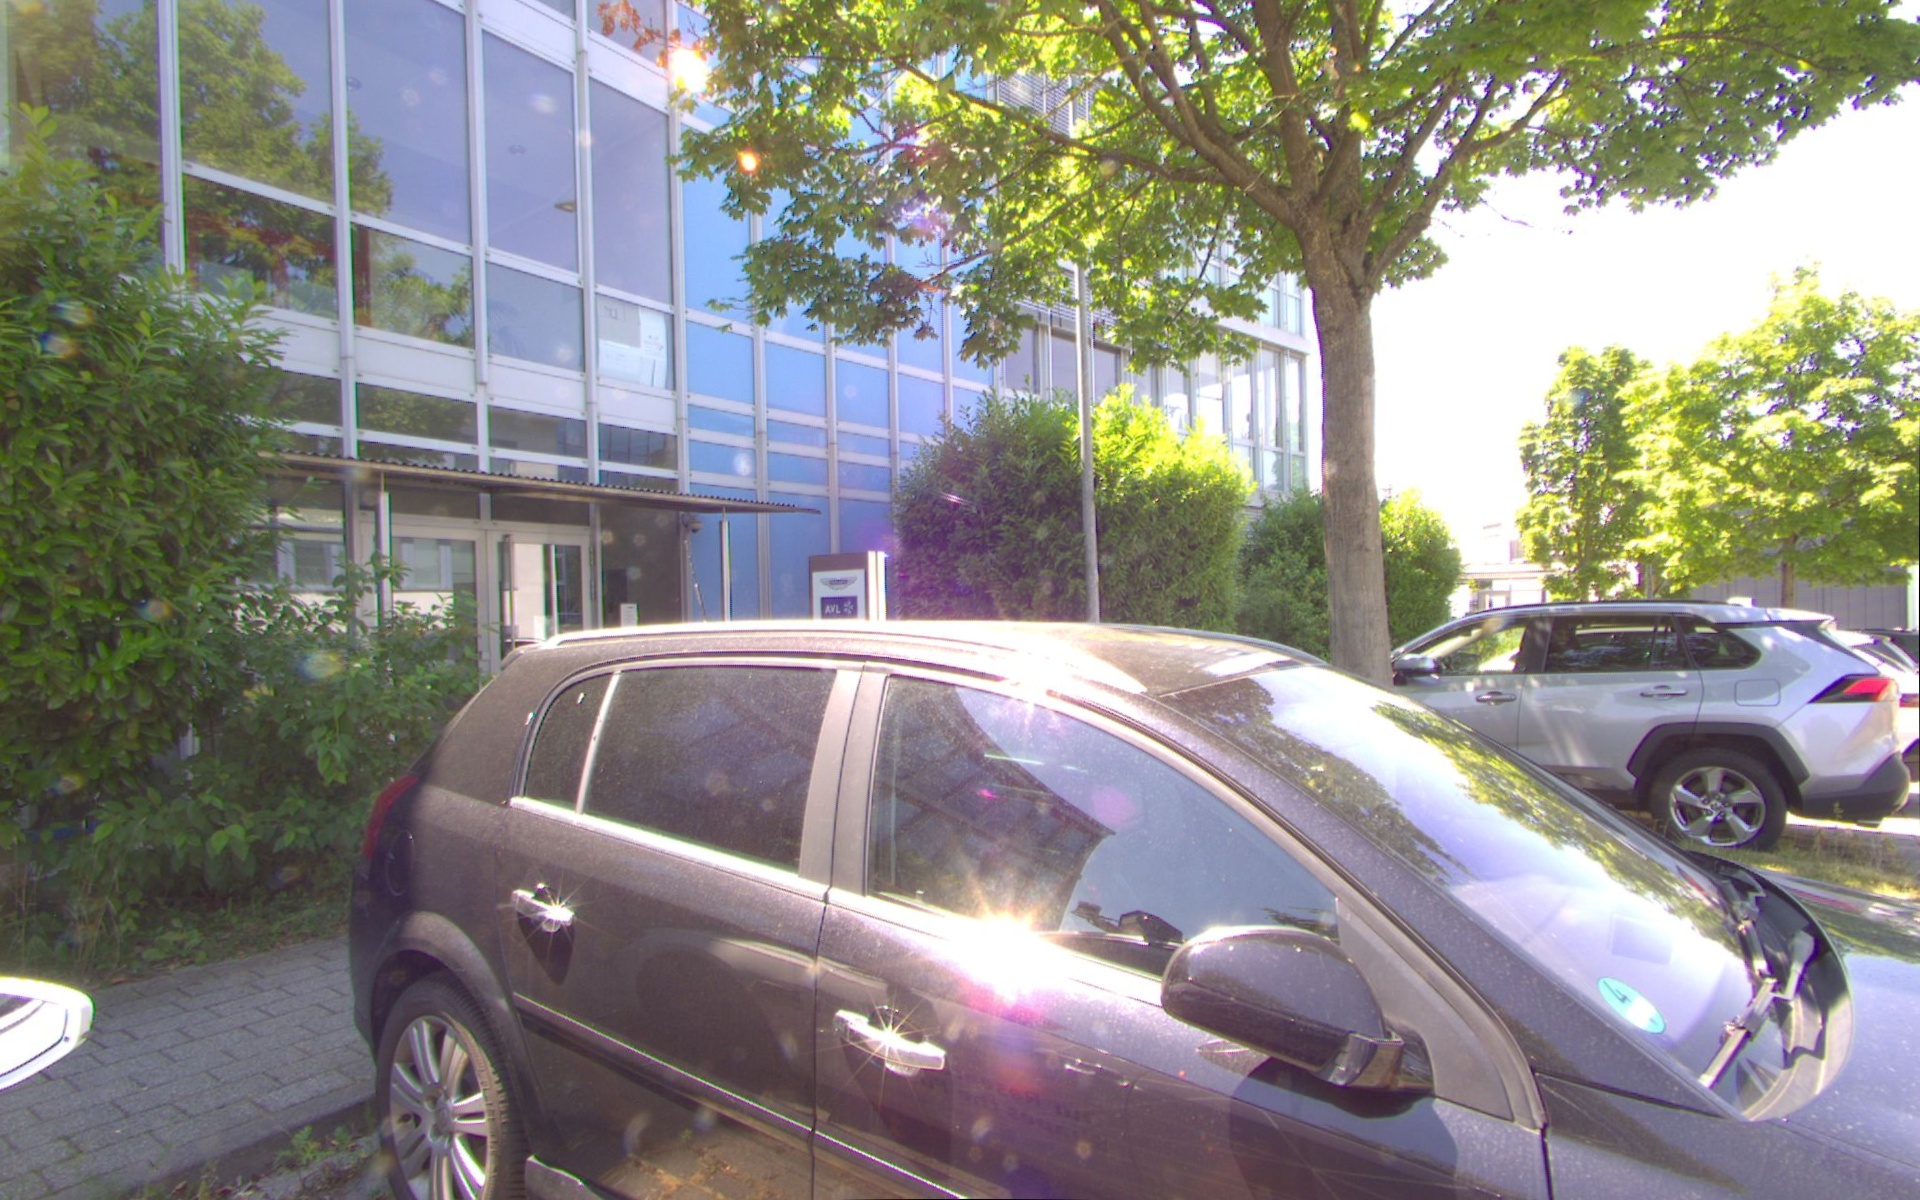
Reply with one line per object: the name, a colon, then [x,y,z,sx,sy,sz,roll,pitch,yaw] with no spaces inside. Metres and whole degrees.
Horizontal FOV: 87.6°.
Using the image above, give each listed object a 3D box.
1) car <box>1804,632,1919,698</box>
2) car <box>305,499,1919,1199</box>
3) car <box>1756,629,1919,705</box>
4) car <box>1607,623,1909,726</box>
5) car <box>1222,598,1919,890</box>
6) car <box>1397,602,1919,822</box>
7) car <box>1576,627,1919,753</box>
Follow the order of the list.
car: [22.323,1.521,23.488,1.614,1.462,3.566,1,-1,-34]
car: [0.513,0.739,2.138,4.506,1.569,1.753,-1,-2,36]
car: [20.254,1.460,22.371,1.614,1.545,3.566,1,-1,-34]
car: [14.727,1.292,18.701,1.641,1.626,4.145,1,-1,-38]
car: [4.434,0.842,7.770,4.278,1.664,1.844,0,-1,39]
car: [6.508,0.878,9.382,4.150,1.664,1.649,0,-1,39]
car: [11.467,1.192,14.429,1.645,1.505,4.136,2,-1,-44]
